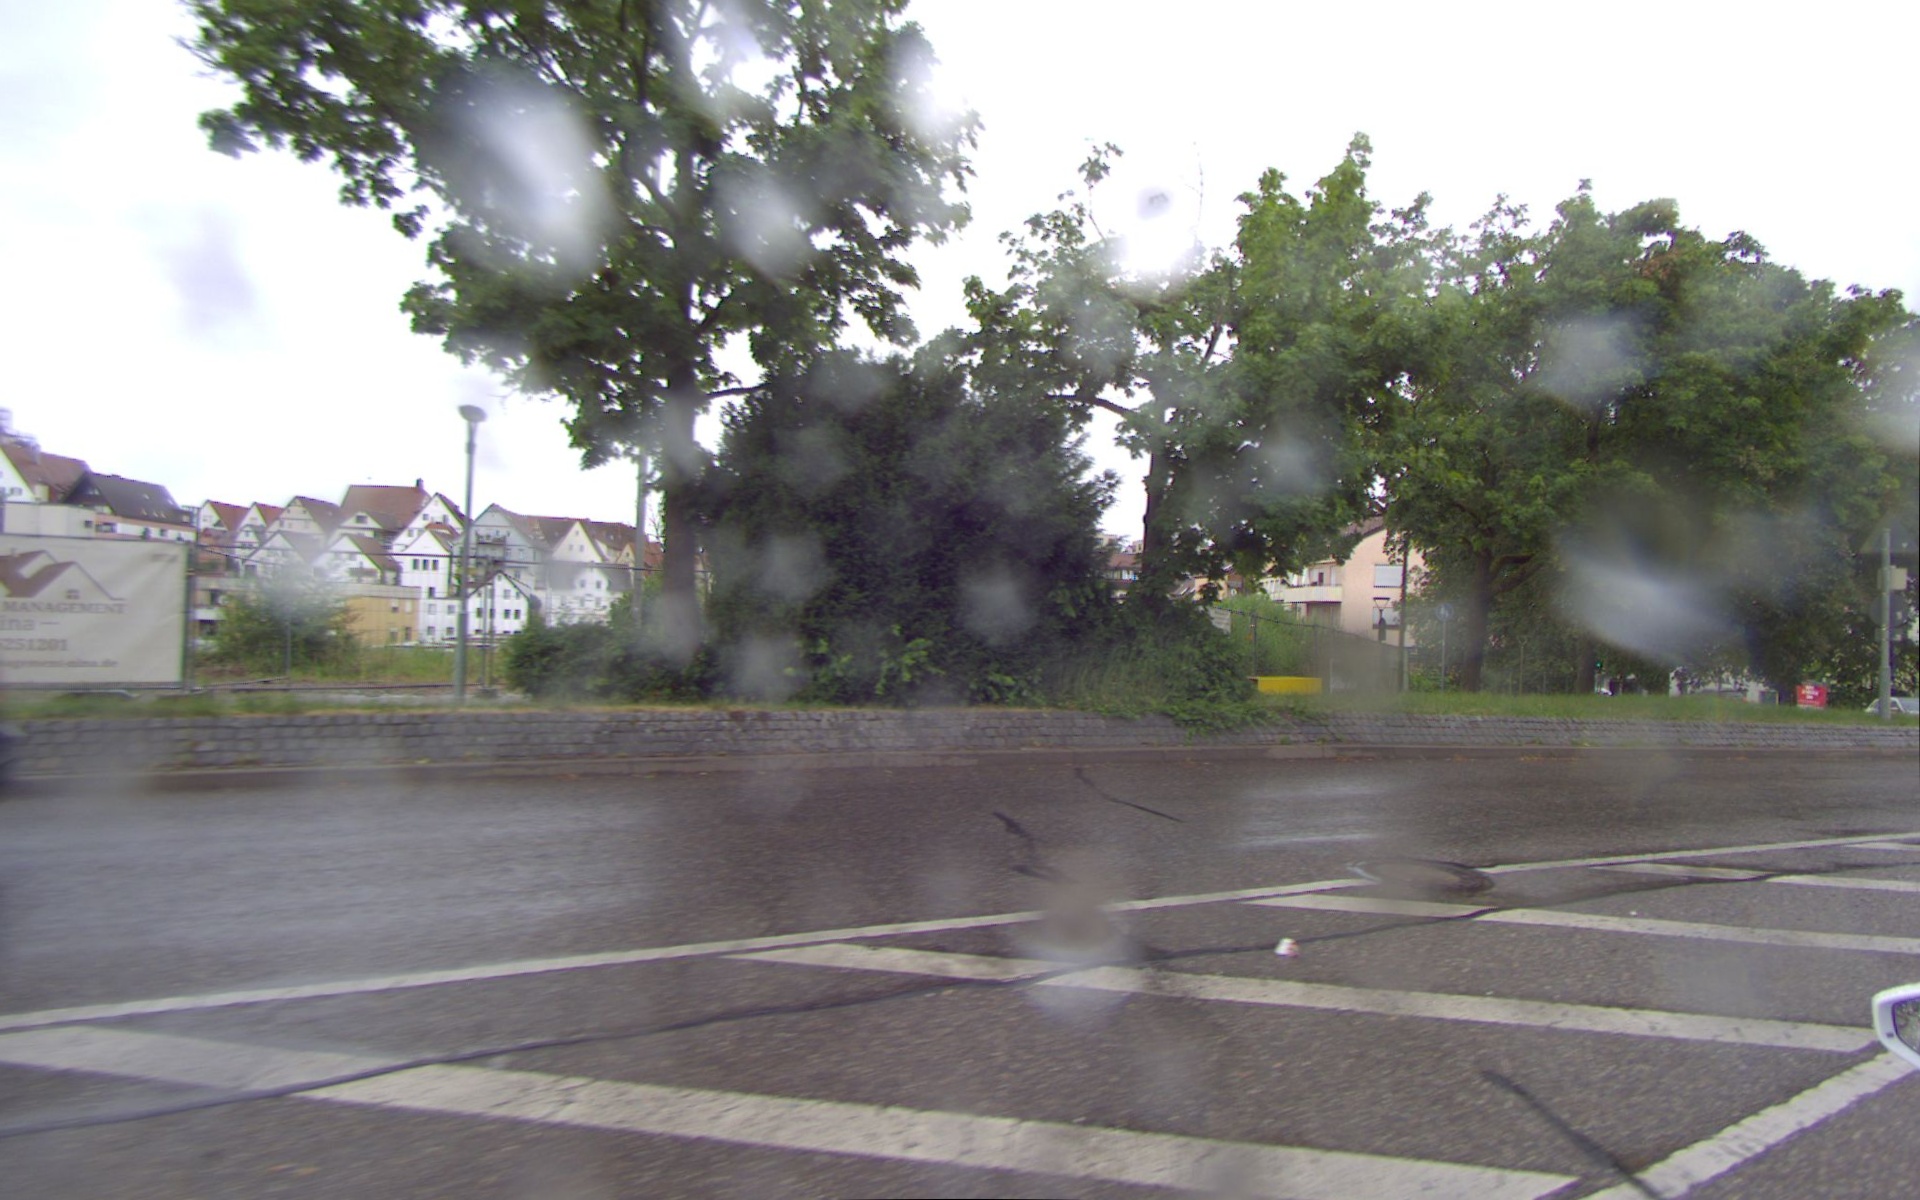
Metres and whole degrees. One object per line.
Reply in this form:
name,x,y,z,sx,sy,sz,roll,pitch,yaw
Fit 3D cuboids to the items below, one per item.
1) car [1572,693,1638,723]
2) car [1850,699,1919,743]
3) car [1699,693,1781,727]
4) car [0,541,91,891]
car,40.113,6.699,62.545,1.861,1.611,3.690,1,-2,3
car,36.005,4.592,38.285,1.695,1.524,4.260,1,-4,21
car,43.793,6.165,56.470,1.861,1.611,3.690,1,-2,3
car,-6.079,0.456,3.685,4.014,1.541,1.636,2,0,-24
